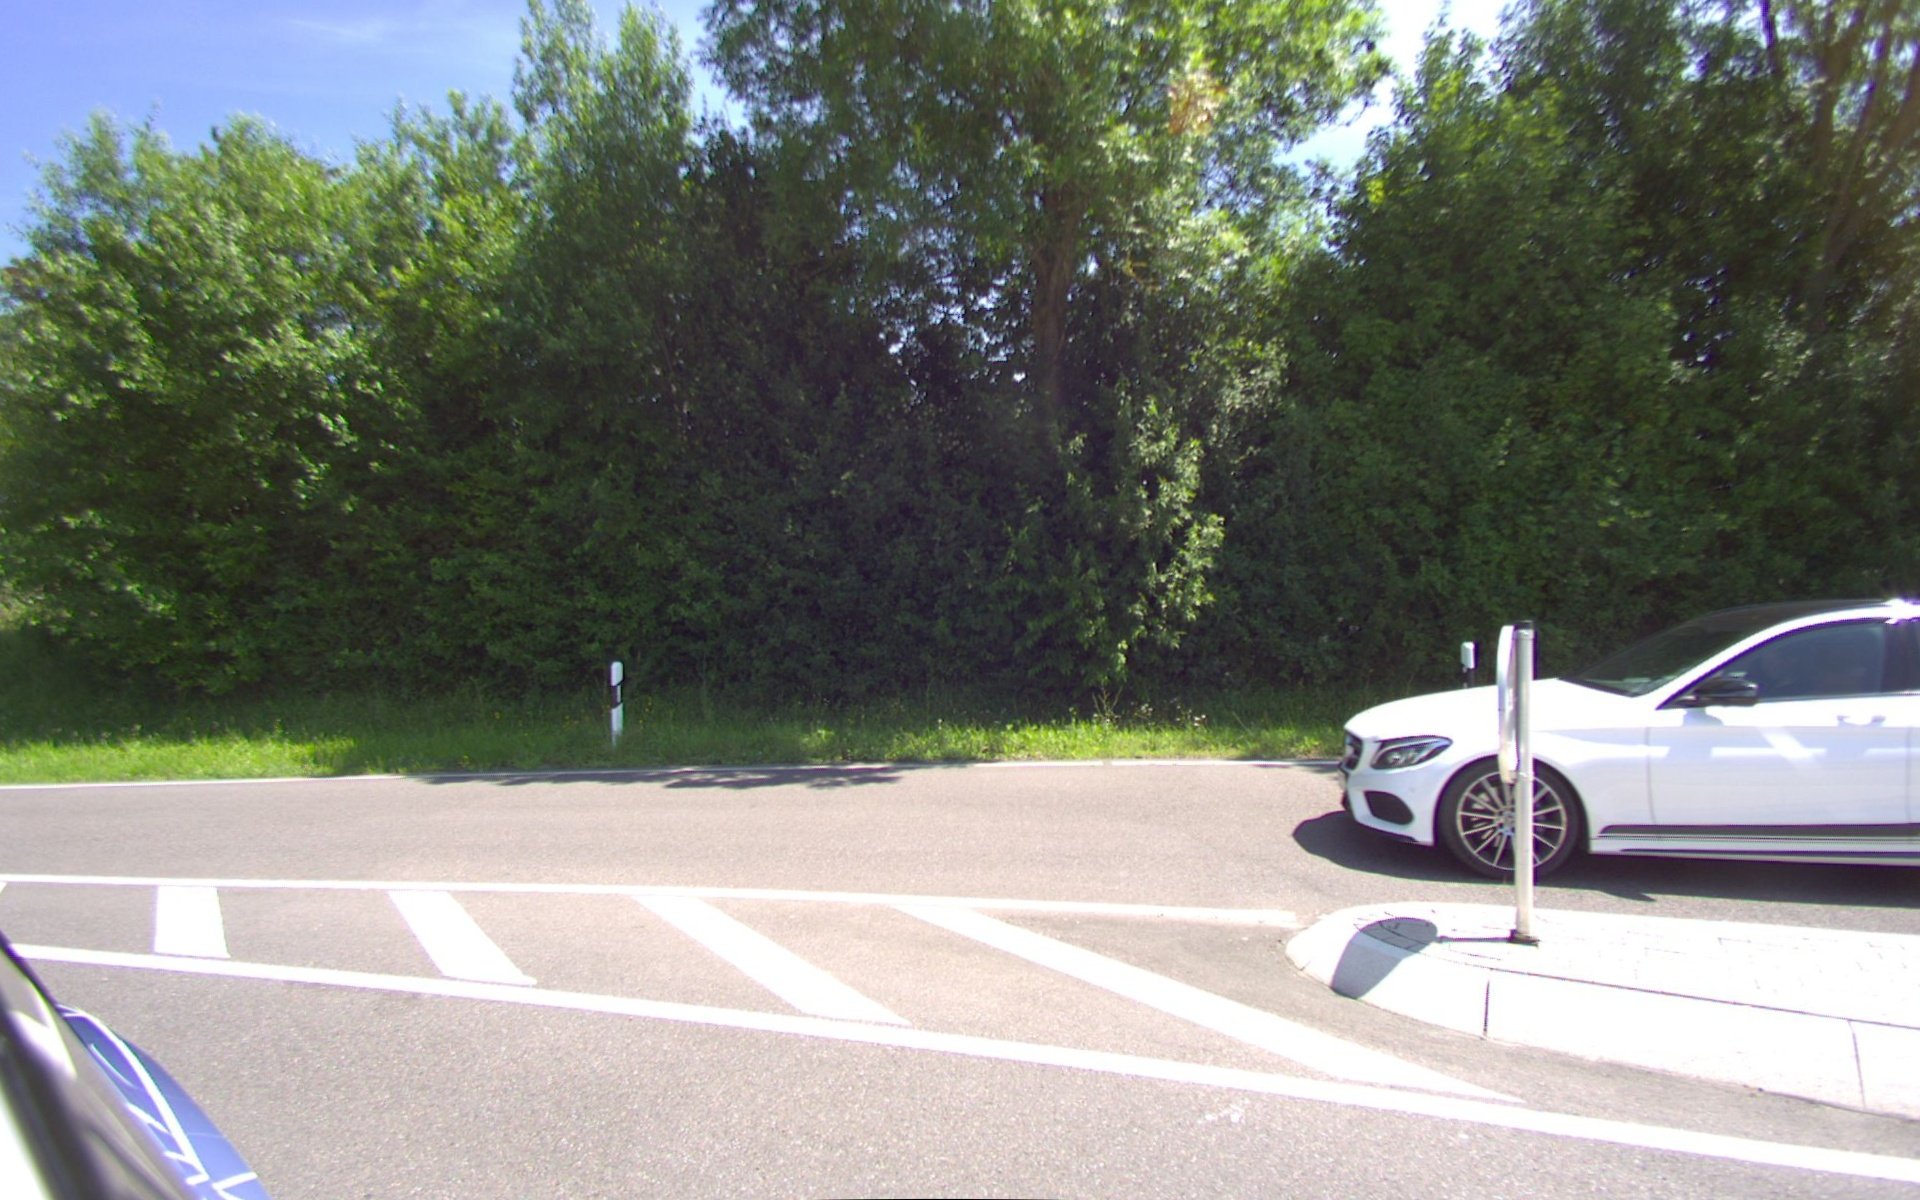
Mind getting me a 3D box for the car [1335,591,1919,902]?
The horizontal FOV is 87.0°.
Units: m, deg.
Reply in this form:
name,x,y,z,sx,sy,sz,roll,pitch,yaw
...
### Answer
name,x,y,z,sx,sy,sz,roll,pitch,yaw
car,4.934,0.686,5.528,5.291,1.423,1.799,-2,0,19
